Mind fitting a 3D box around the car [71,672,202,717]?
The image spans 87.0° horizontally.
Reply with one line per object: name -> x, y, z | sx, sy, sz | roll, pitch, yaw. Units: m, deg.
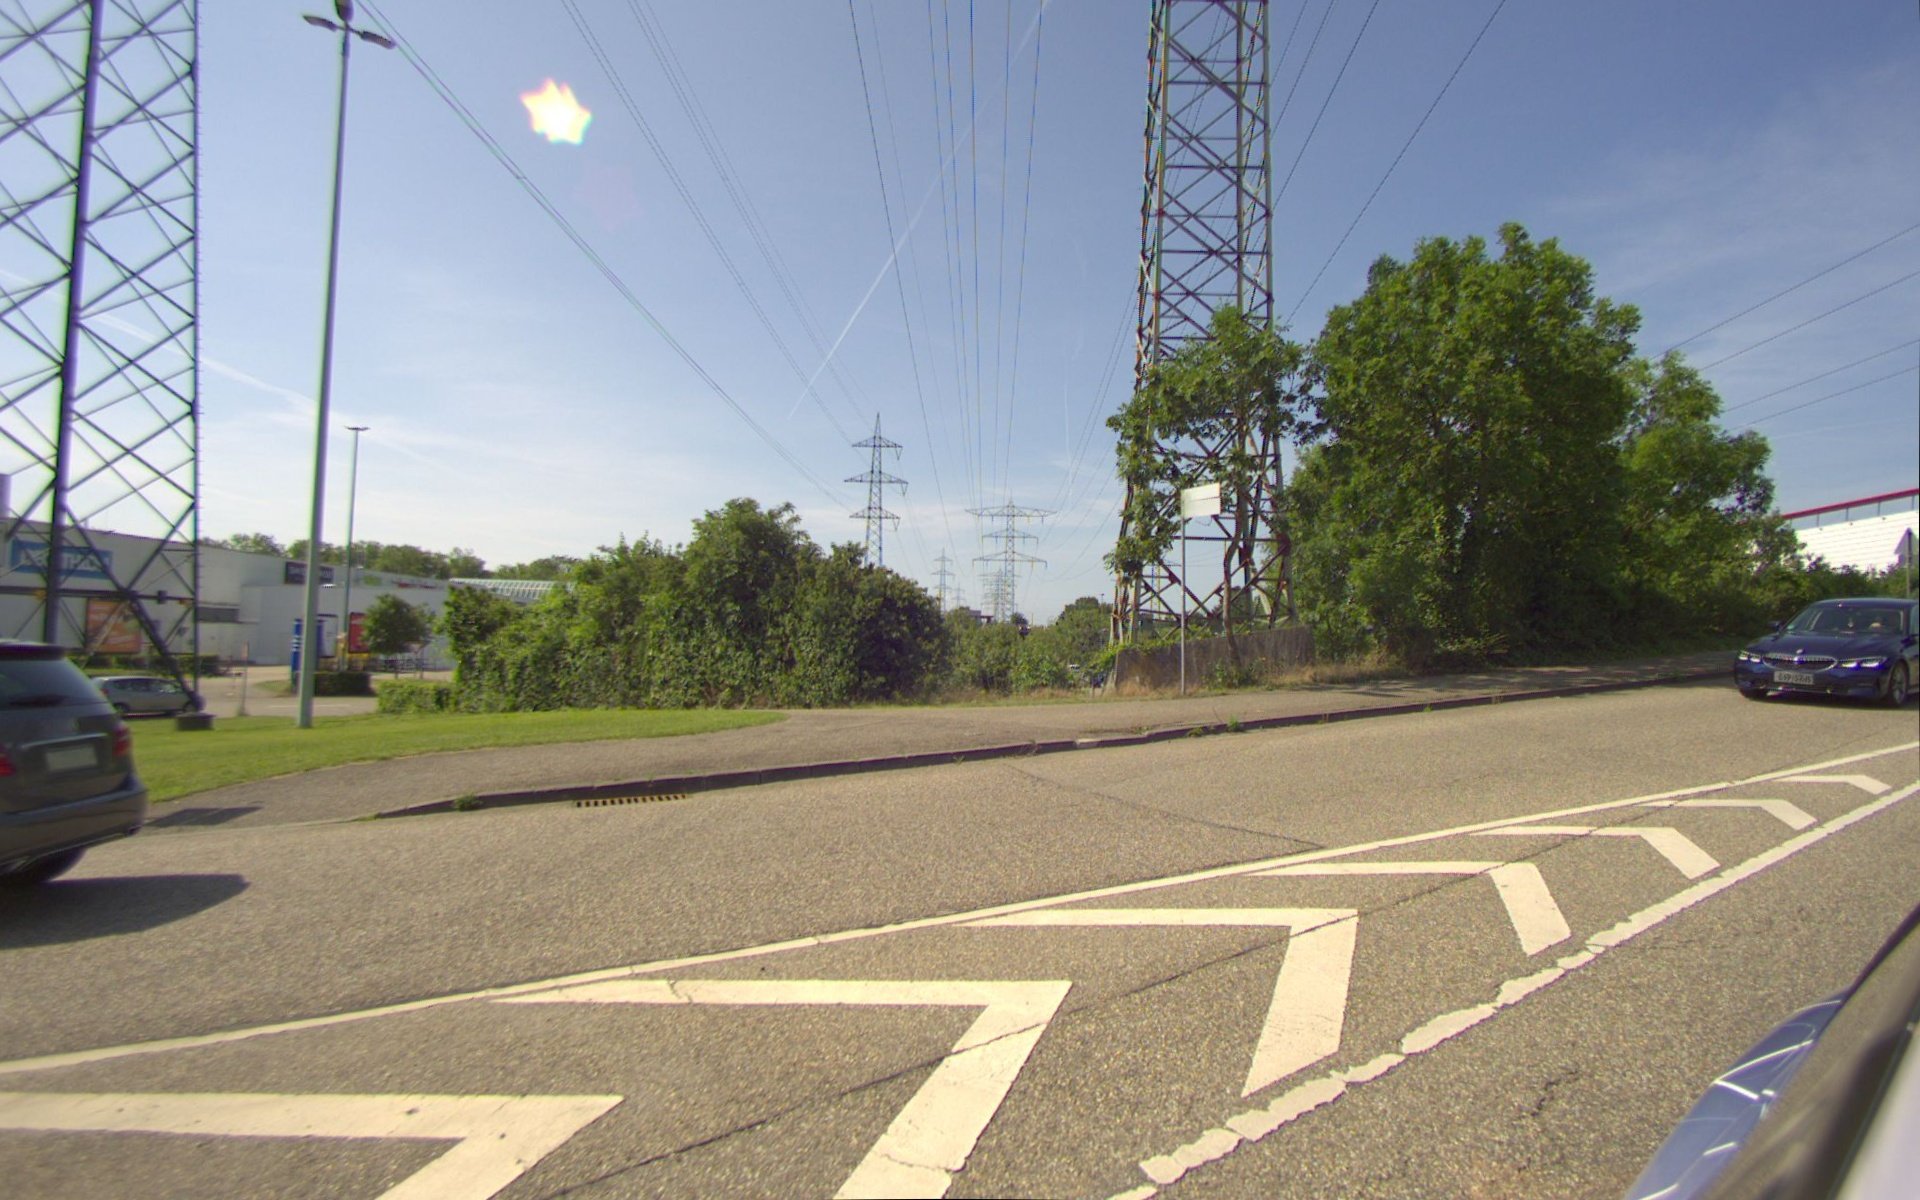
car -> -30.989, 3.525, 38.166 | 1.607, 1.504, 3.458 | 0, -3, 26

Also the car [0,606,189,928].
car -> -6.787, 0.884, 5.215 | 4.057, 1.549, 1.865 | -1, -3, -13

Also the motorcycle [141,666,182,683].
motorcycle -> -42.065, 3.906, 53.317 | 1.666, 0.824, 0.436 | 2, -2, -9

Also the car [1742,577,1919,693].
car -> 13.648, 0.561, 15.057 | 4.430, 1.503, 1.794 | 3, -3, -32

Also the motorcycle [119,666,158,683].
motorcycle -> -42.146, 3.807, 51.926 | 1.669, 0.824, 0.388 | 2, -2, 0
